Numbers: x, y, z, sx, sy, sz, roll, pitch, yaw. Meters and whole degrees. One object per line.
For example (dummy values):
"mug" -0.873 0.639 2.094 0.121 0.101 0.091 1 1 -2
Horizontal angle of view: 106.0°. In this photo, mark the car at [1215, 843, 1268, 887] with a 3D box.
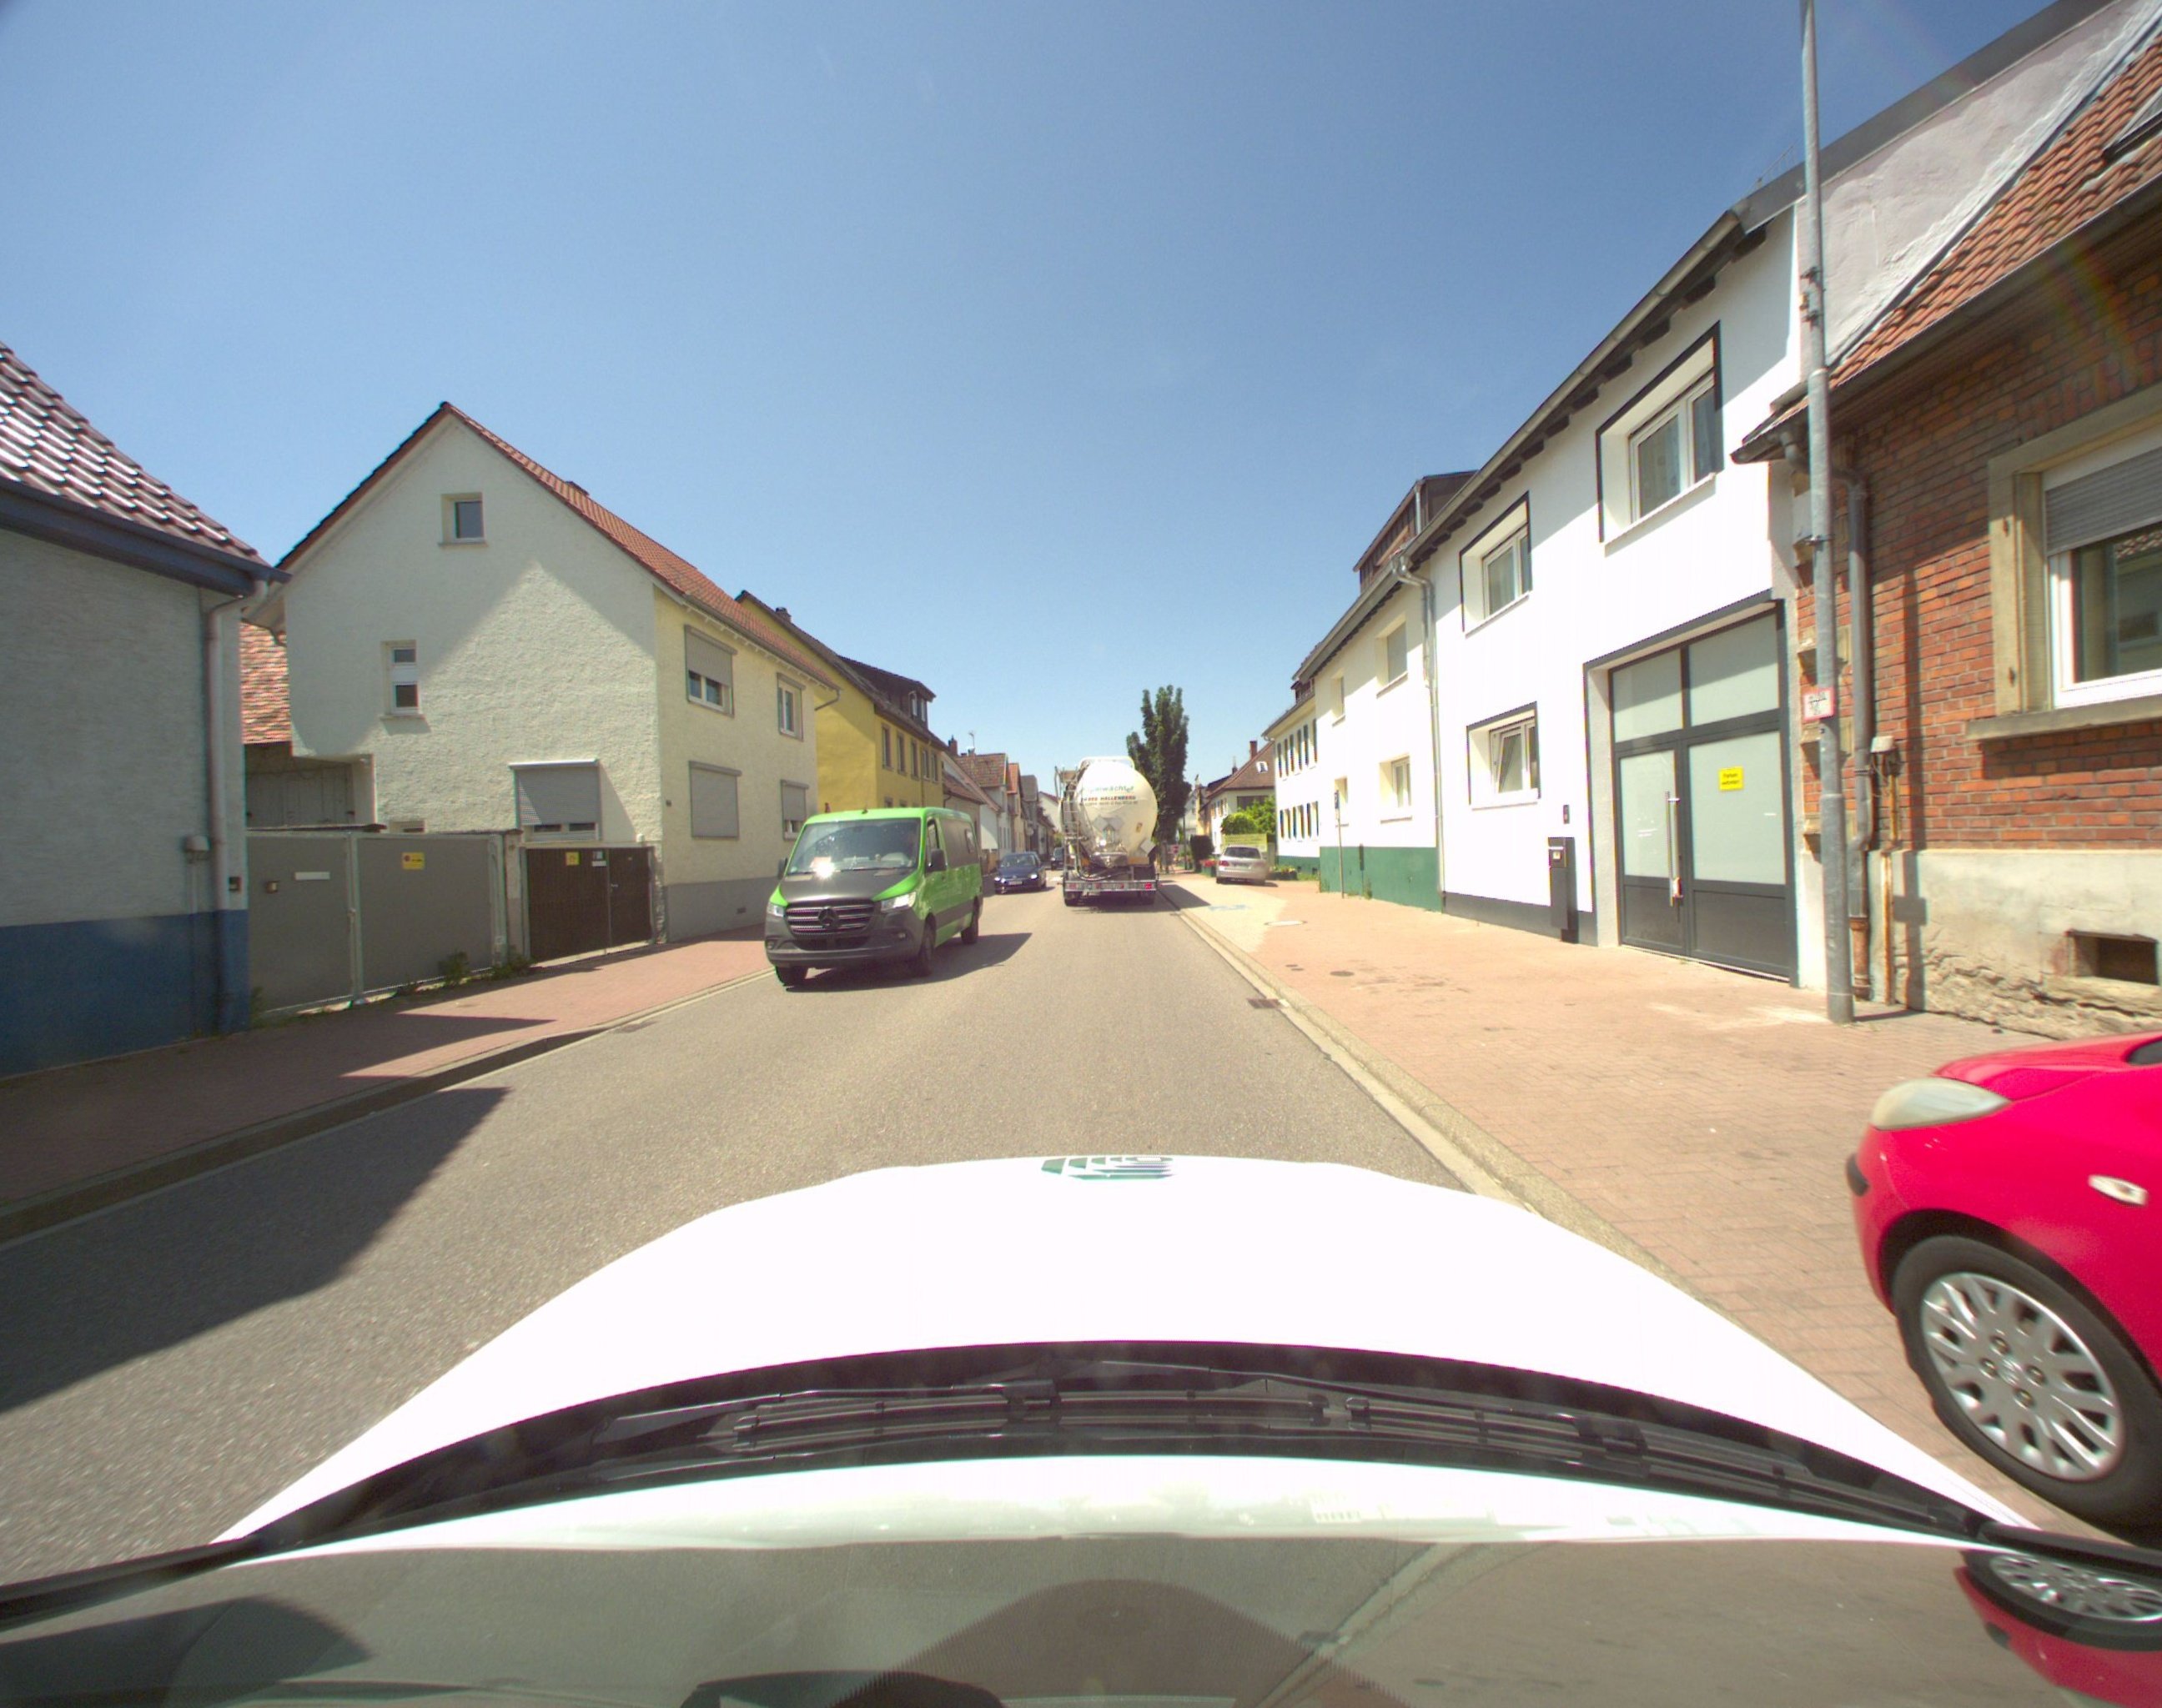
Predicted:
"car" 6.138 0.343 31.309 1.803 1.462 4.899 2 1 10

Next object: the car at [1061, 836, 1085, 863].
"car" -0.775 -0.425 80.671 2.062 2.455 6.009 -3 0 1

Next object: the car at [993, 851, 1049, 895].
"car" -2.334 0.710 32.541 1.758 1.536 4.079 -3 0 1

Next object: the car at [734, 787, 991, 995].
"car" -2.922 0.419 12.672 2.043 2.353 6.084 -3 0 2

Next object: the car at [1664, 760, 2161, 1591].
"car" 2.752 0.561 0.867 1.605 1.528 3.676 -3 0 0

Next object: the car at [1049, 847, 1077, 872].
"car" -1.347 0.385 61.707 1.832 1.669 4.325 -3 0 1

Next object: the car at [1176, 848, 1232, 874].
"car" 9.884 0.555 65.869 4.154 1.587 1.908 8 0 2

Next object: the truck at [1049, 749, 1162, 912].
"truck" 0.659 -0.557 23.930 2.723 3.960 8.142 -1 0 1
